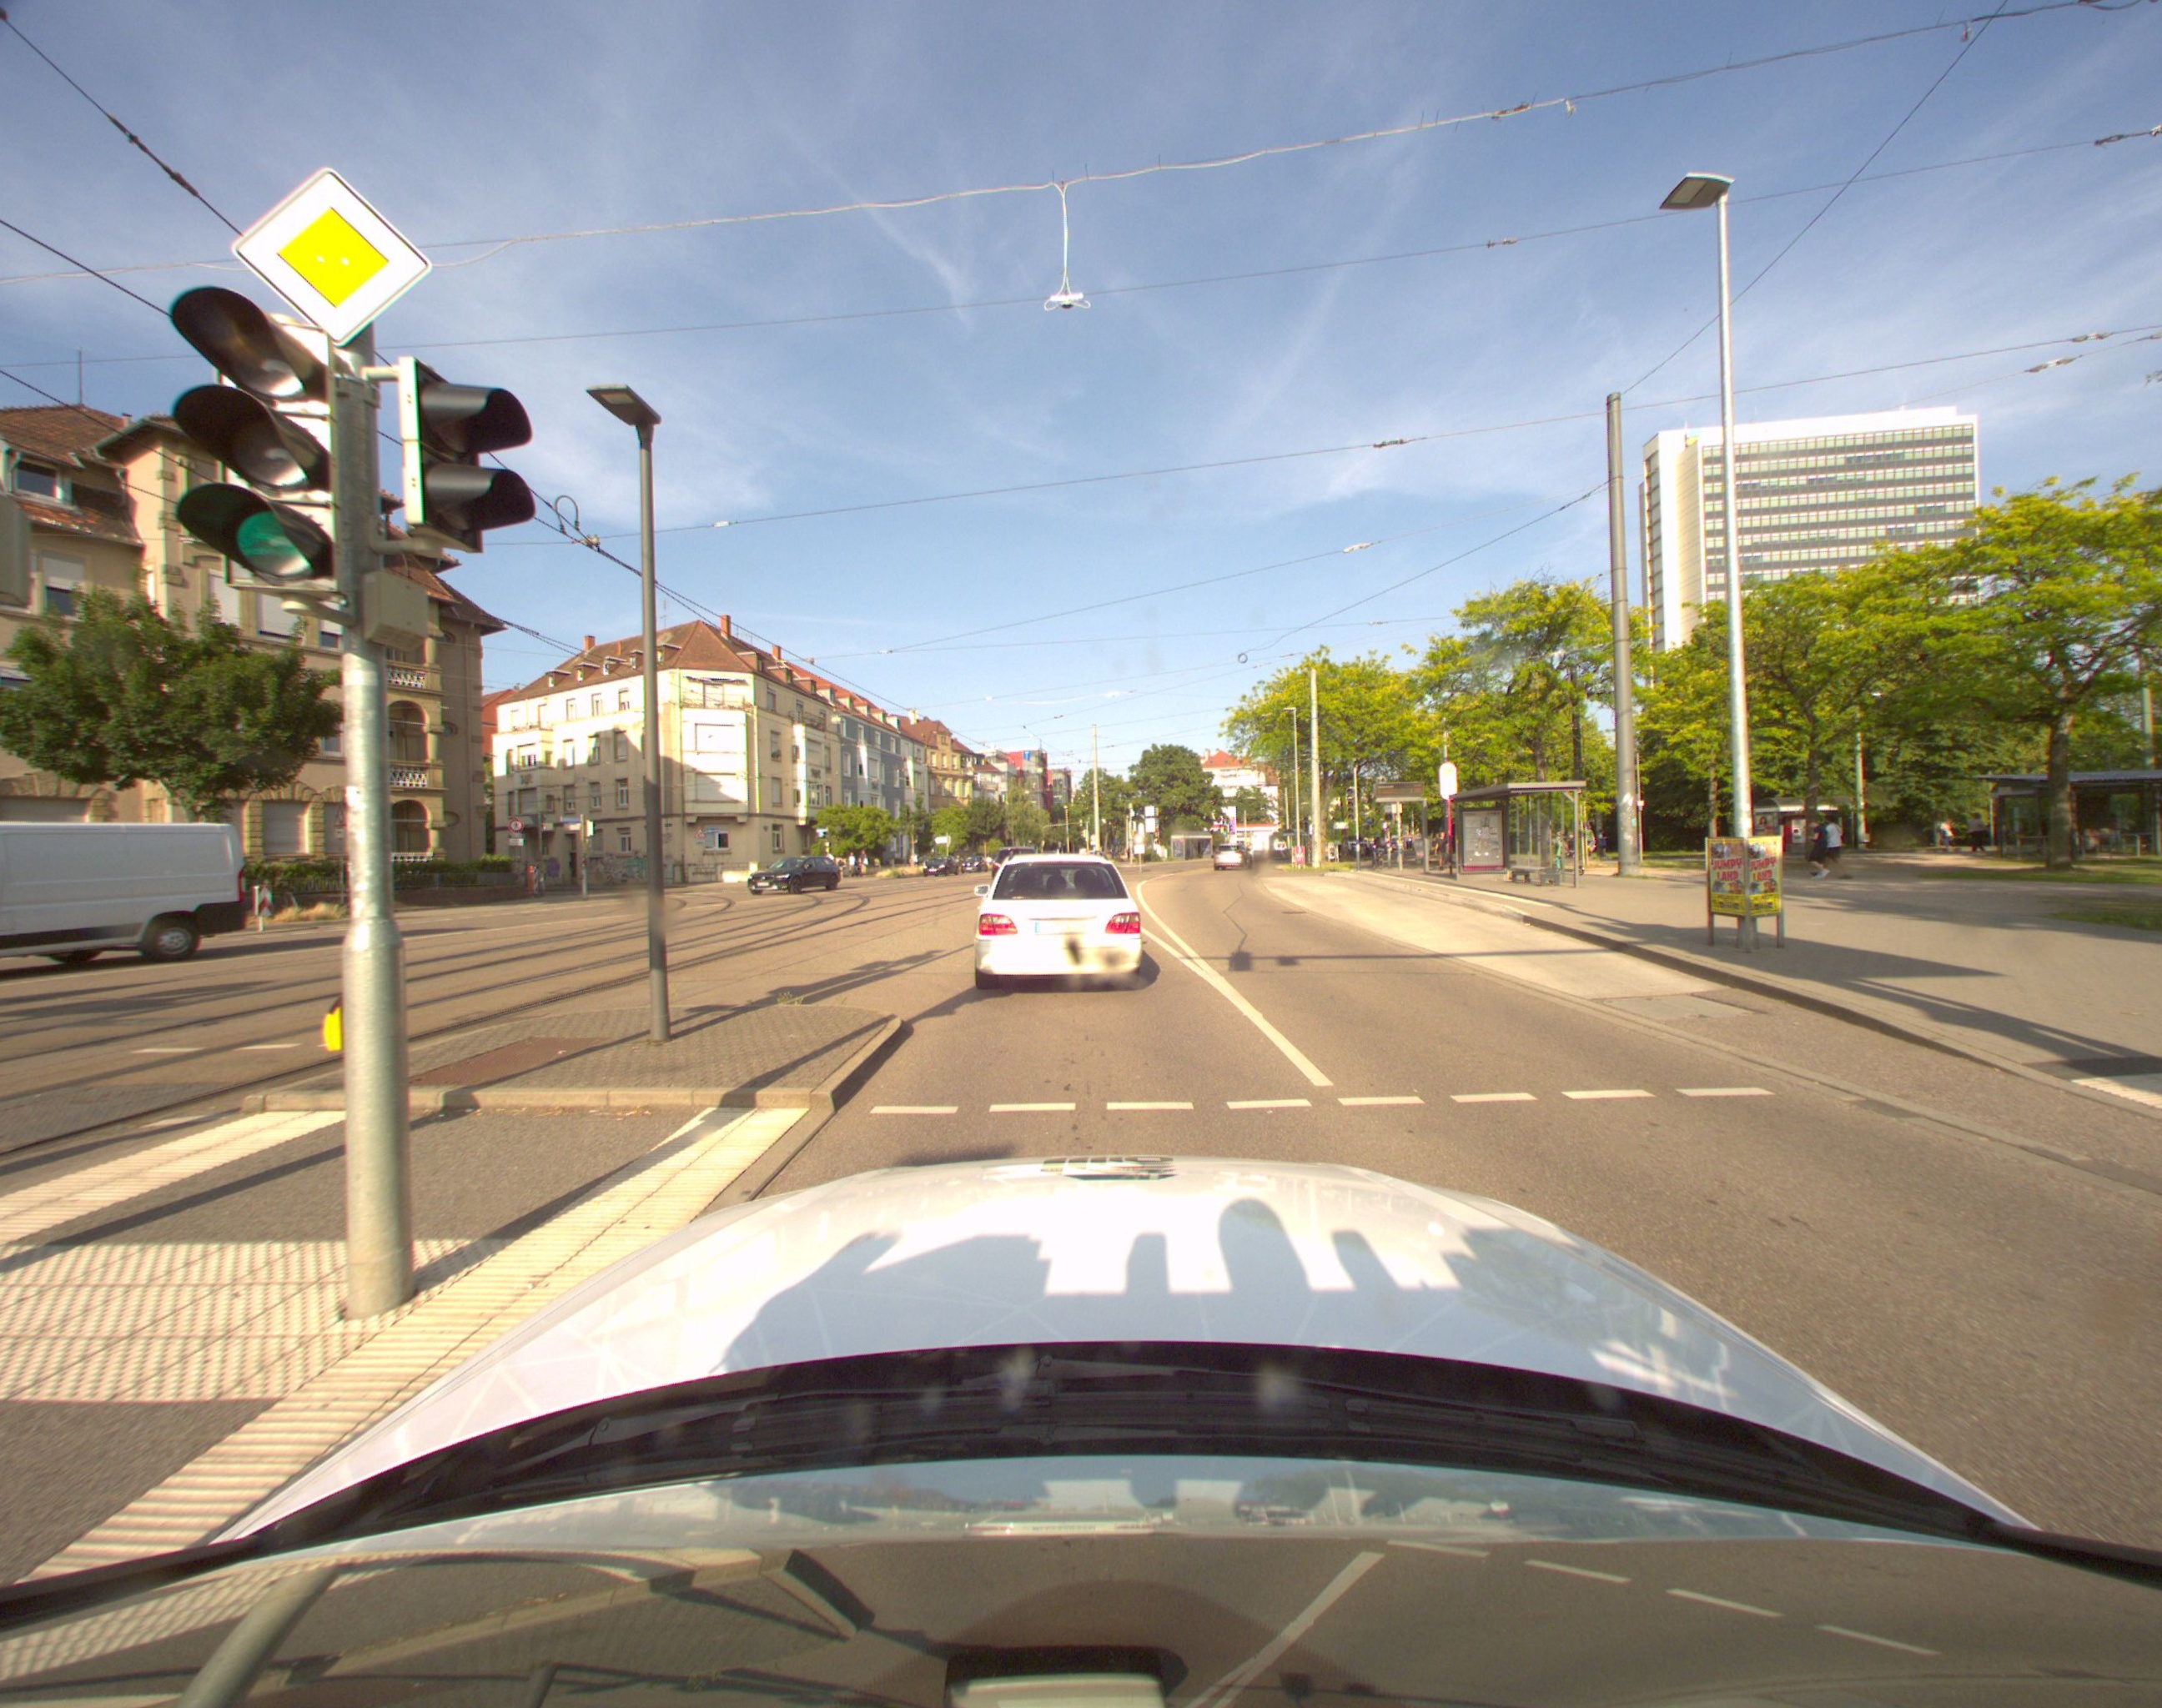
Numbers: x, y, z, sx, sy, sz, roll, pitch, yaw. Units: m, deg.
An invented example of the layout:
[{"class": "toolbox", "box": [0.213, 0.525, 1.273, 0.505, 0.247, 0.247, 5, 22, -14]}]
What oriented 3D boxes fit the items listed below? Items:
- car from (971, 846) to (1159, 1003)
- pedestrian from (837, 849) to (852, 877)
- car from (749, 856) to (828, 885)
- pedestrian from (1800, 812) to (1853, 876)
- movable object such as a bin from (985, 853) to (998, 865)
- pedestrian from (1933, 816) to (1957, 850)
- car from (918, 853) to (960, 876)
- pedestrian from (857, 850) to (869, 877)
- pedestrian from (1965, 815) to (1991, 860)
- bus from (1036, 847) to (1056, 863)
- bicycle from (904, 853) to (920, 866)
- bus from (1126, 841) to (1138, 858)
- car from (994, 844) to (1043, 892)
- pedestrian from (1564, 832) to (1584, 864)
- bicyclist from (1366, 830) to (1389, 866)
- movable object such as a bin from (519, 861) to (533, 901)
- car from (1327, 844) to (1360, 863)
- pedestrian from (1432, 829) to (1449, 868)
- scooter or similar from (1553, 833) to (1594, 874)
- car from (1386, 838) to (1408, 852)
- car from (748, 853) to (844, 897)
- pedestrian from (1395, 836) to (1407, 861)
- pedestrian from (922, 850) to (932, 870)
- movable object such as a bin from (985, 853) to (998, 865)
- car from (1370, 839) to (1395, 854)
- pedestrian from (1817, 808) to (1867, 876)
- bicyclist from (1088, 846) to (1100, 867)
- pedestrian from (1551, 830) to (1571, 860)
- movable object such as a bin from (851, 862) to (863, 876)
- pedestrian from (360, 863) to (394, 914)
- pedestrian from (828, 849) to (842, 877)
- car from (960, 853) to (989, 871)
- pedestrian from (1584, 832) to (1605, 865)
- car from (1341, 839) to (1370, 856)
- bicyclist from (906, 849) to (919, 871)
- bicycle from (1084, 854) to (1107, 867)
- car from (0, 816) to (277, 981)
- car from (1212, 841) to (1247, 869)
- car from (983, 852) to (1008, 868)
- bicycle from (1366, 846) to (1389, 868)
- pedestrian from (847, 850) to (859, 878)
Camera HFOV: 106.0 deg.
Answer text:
[{"class": "car", "box": [-0.335, 0.667, 9.780, 1.833, 1.501, 3.807, 0, 0, -6]}, {"class": "pedestrian", "box": [-15.950, 0.617, 54.972, 0.670, 1.848, 0.651, -2, 0, 8]}, {"class": "car", "box": [-16.779, 0.933, 46.796, 4.011, 1.457, 1.783, -2, 0, -29]}, {"class": "pedestrian", "box": [20.986, -0.274, 22.940, 0.673, 1.777, 0.874, 1, 0, -18]}, {"class": "movable object such as a bin", "box": [-11.315, 0.592, 103.084, 1.532, 1.421, 1.082, -2, 0, -6]}, {"class": "pedestrian", "box": [46.693, -1.122, 44.005, 0.666, 1.800, 0.613, 0, 0, 15]}, {"class": "car", "box": [-9.963, 0.718, 57.431, 1.757, 1.433, 4.008, -2, 0, 7]}, {"class": "pedestrian", "box": [-15.326, 0.660, 57.266, 0.581, 1.881, 0.628, -2, 0, 6]}, {"class": "pedestrian", "box": [37.153, -0.675, 33.721, 0.462, 1.868, 0.601, 1, -1, -23]}, {"class": "bus", "box": [-3.808, 0.141, 88.041, 1.838, 1.636, 4.160, -2, 0, 1]}, {"class": "bicycle", "box": [-13.514, 0.460, 65.077, 0.766, 0.965, 2.035, -2, 0, 2]}, {"class": "bus", "box": [7.777, -0.647, 125.519, 1.790, 2.555, 4.003, 1, -1, 3]}, {"class": "car", "box": [-2.267, 0.471, 29.397, 1.639, 1.600, 3.809, 0, 0, -5]}, {"class": "pedestrian", "box": [26.062, -0.340, 43.061, 0.638, 1.665, 0.691, -2, 0, 1]}, {"class": "bicyclist", "box": [15.230, -0.309, 41.810, 0.716, 1.745, 1.142, -5, 0, 5]}, {"class": "movable object such as a bin", "box": [-24.658, 1.189, 36.186, 0.265, 1.709, 2.360, -2, 0, -30]}, {"class": "car", "box": [23.662, -0.082, 73.317, 1.835, 1.515, 4.025, -3, 0, 31]}, {"class": "pedestrian", "box": [16.587, -0.238, 37.573, 0.574, 1.777, 0.589, 1, 0, 9]}, {"class": "scooter or similar", "box": [15.169, -0.014, 25.098, 0.351, 1.232, 1.131, -2, 0, -13]}, {"class": "car", "box": [38.381, -1.111, 98.799, 1.836, 1.515, 4.025, -3, 0, 30]}, {"class": "car", "box": [-11.557, 0.796, 33.408, 1.757, 1.494, 4.754, -2, 2, 7]}, {"class": "pedestrian", "box": [21.285, -0.354, 54.180, 0.636, 1.665, 0.694, -2, 0, 17]}, {"class": "pedestrian", "box": [-13.576, 0.531, 71.731, 0.635, 1.751, 0.912, -2, 0, 4]}, {"class": "movable object such as a bin", "box": [-11.193, 0.584, 101.735, 1.601, 1.421, 1.082, -2, 0, -6]}, {"class": "car", "box": [32.786, -0.814, 88.412, 1.836, 1.515, 4.025, -3, 0, 30]}, {"class": "pedestrian", "box": [21.816, -0.326, 23.364, 0.674, 1.897, 0.872, 1, 0, -26]}, {"class": "bicyclist", "box": [1.143, 0.208, 69.920, 0.896, 1.699, 0.732, -3, 0, 1]}, {"class": "pedestrian", "box": [25.934, -0.472, 44.022, 0.638, 1.610, 0.691, -2, 0, 1]}, {"class": "movable object such as a bin", "box": [-15.904, 1.081, 57.854, 0.579, 0.947, 0.665, -2, 0, 11]}, {"class": "pedestrian", "box": [-23.281, 1.143, 26.941, 0.672, 1.651, 0.608, -2, 0, 28]}, {"class": "pedestrian", "box": [-16.589, 0.600, 54.938, 0.655, 1.881, 0.627, -2, 0, 5]}, {"class": "car", "box": [-8.905, 0.641, 68.446, 1.626, 1.433, 3.634, -2, 0, 5]}, {"class": "pedestrian", "box": [26.536, -0.299, 42.084, 0.638, 1.665, 0.691, -2, 0, 1]}, {"class": "car", "box": [26.392, -0.623, 78.171, 1.836, 1.515, 4.025, -3, 0, 30]}, {"class": "bicyclist", "box": [-13.511, 0.486, 65.304, 0.757, 1.668, 1.168, -2, 0, 2]}, {"class": "bicycle", "box": [1.272, 0.562, 69.918, 1.907, 0.994, 0.727, -4, 0, 1]}, {"class": "car", "box": [-15.600, 0.625, 11.808, 2.164, 2.239, 5.267, -2, 0, 10]}, {"class": "car", "box": [8.991, 0.073, 49.127, 1.822, 1.600, 3.830, 0, 0, 14]}, {"class": "car", "box": [-8.620, 0.572, 82.574, 1.681, 1.441, 4.006, -2, 1, 5]}, {"class": "bicycle", "box": [15.291, 0.157, 42.047, 0.637, 1.088, 1.736, -4, 0, 5]}, {"class": "pedestrian", "box": [-16.008, 0.699, 57.138, 0.581, 1.881, 0.627, -2, 0, 5]}]
